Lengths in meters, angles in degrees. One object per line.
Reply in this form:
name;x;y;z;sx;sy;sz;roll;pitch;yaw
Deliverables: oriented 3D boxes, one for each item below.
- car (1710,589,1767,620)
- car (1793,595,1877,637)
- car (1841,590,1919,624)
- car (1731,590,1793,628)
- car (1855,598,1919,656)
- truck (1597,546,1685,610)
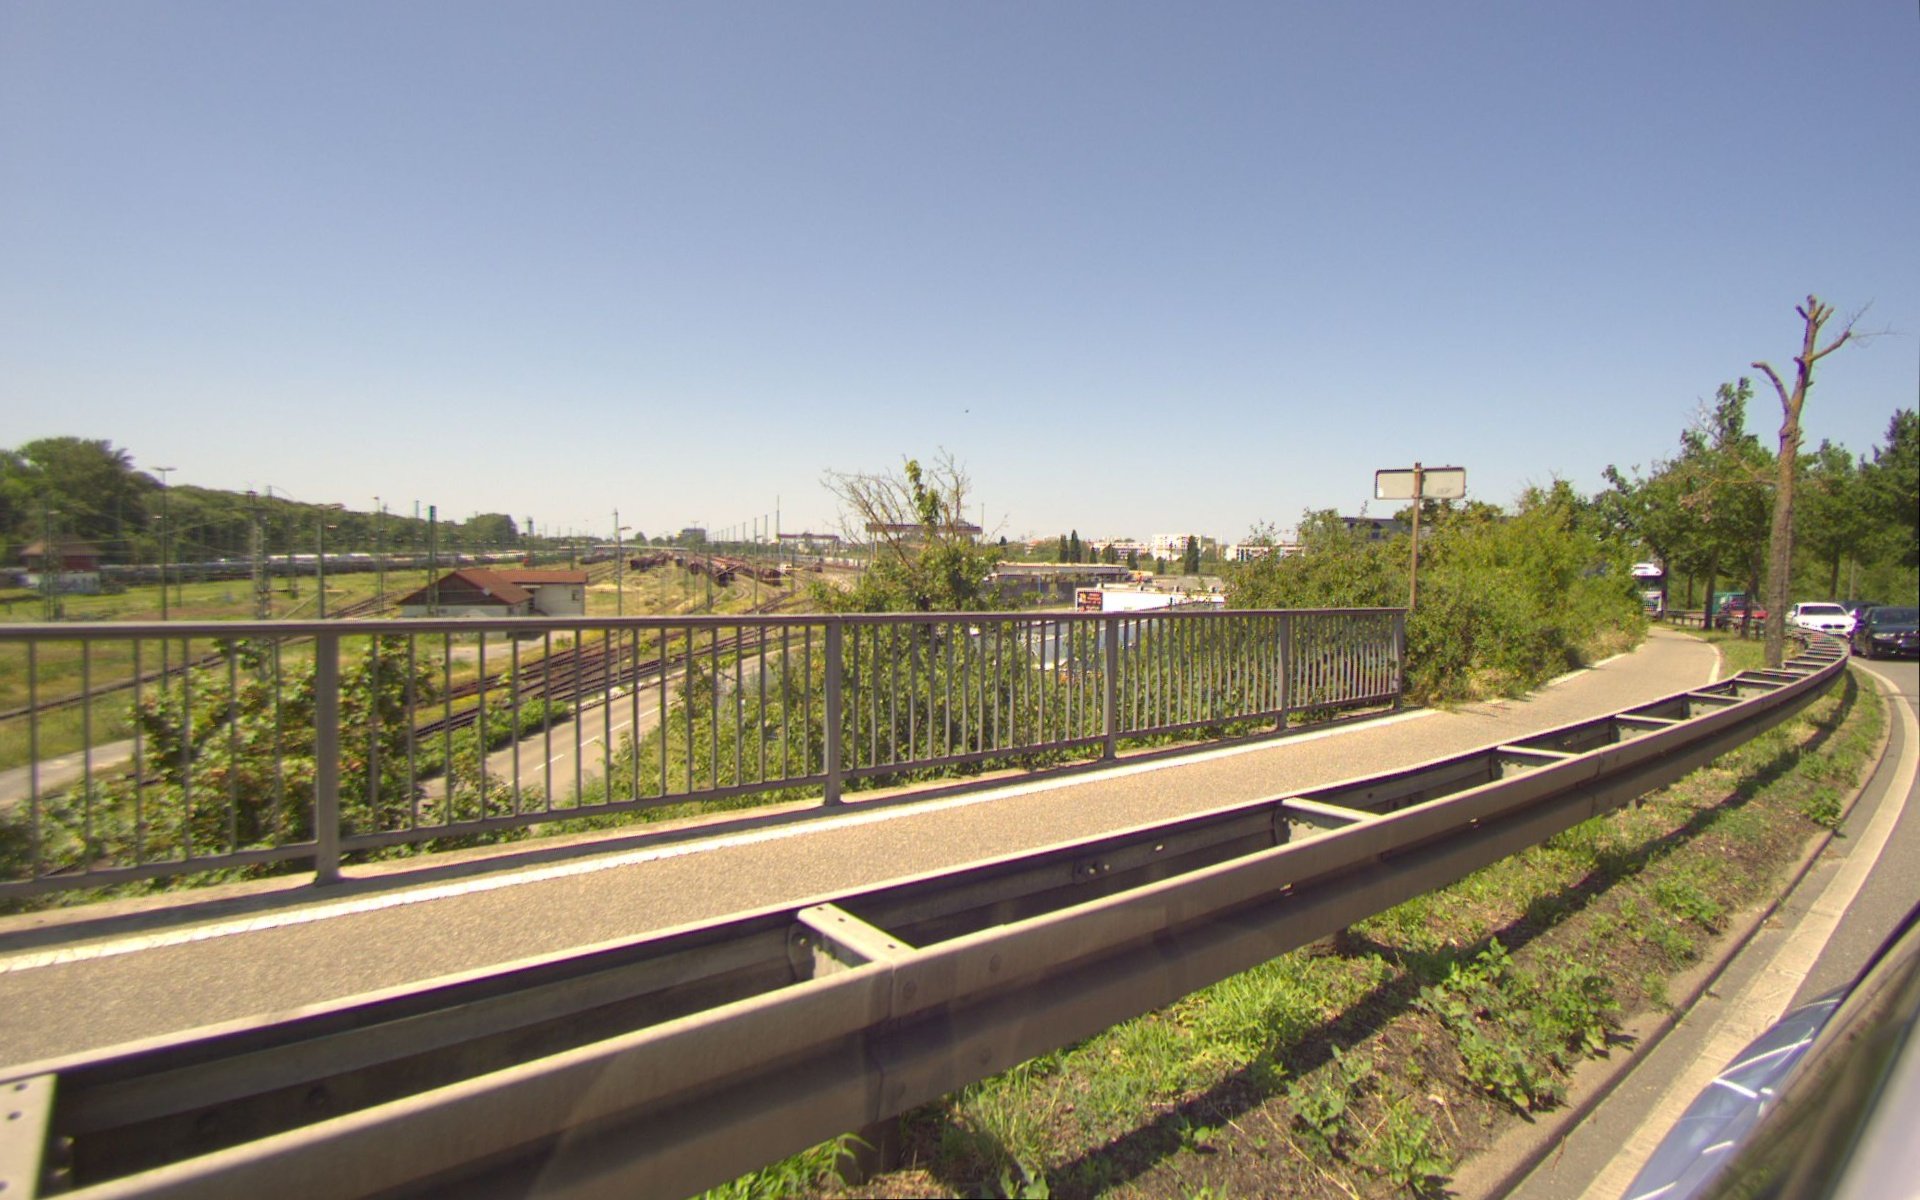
car;49.886;0.254;64.952;1.816;1.963;4.736;0;0;24
car;32.374;0.554;37.538;1.804;1.446;3.672;0;0;32
car;42.447;0.285;46.637;1.836;1.486;4.692;0;0;29
car;40.135;0.405;50.752;1.887;1.675;4.212;0;2;31
car;25.068;0.667;26.763;1.560;1.434;4.071;0;0;34
truck;48.359;-1.489;72.172;2.821;4.323;8.764;0;0;18
